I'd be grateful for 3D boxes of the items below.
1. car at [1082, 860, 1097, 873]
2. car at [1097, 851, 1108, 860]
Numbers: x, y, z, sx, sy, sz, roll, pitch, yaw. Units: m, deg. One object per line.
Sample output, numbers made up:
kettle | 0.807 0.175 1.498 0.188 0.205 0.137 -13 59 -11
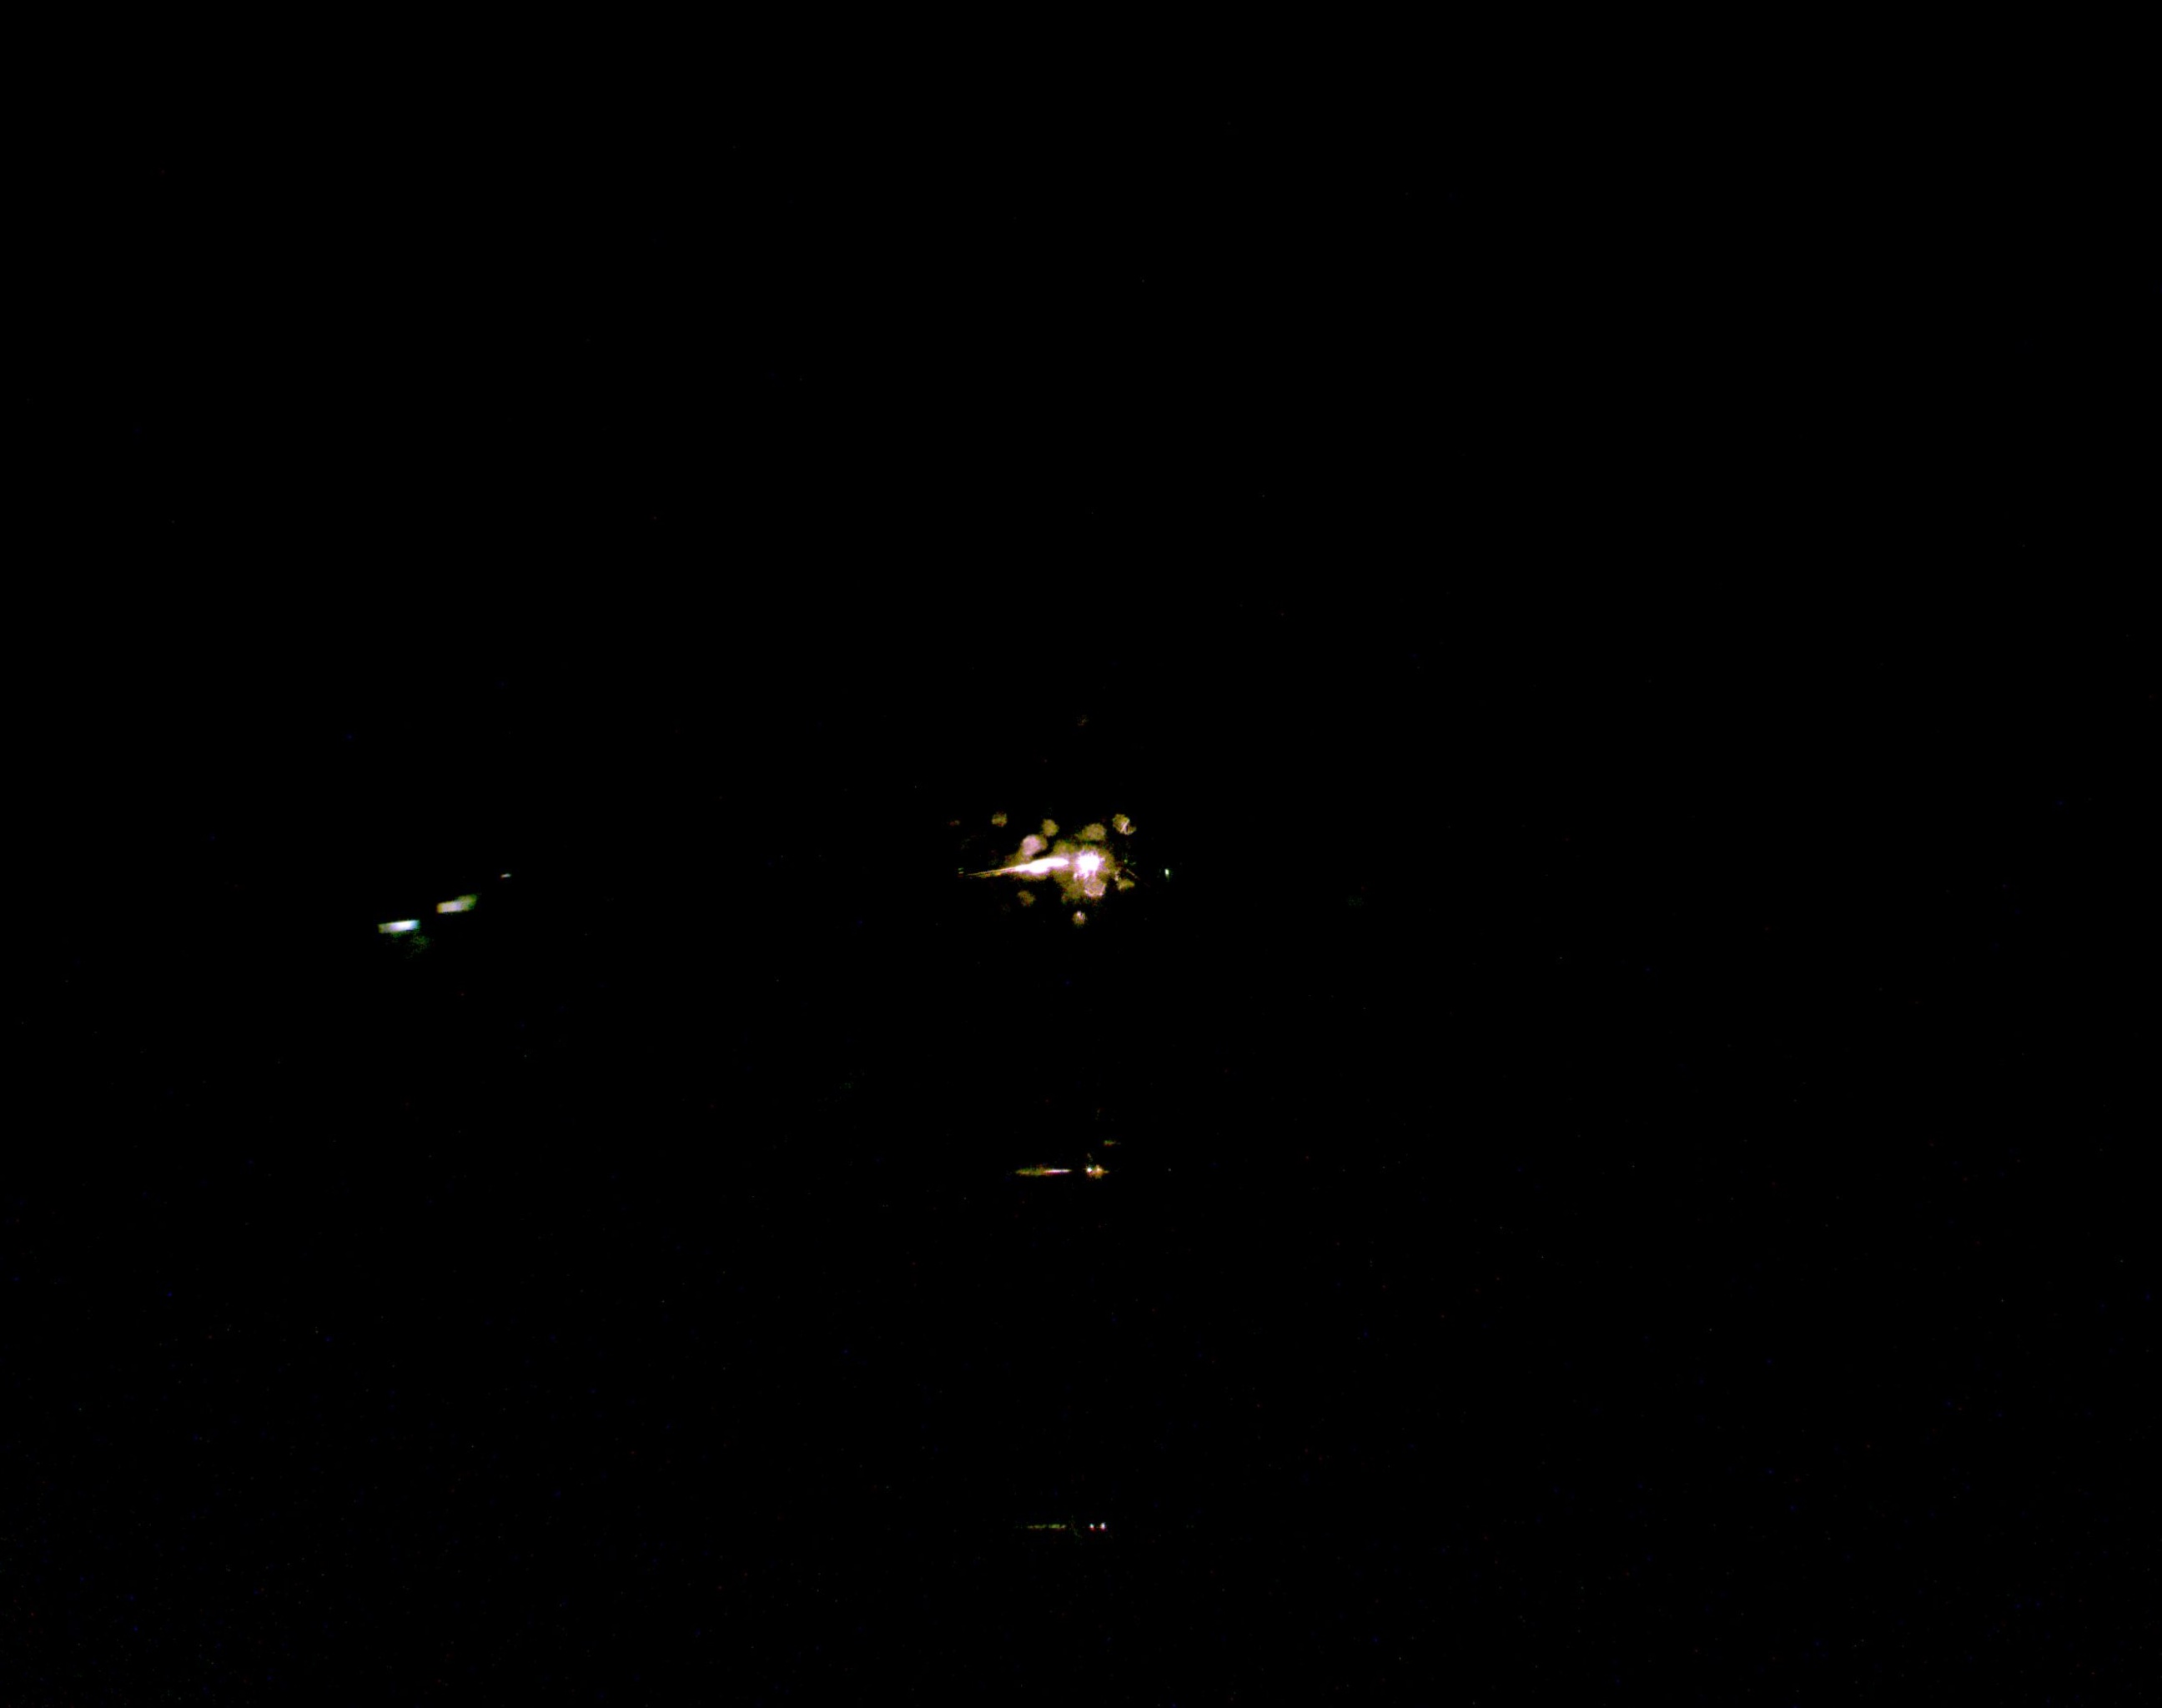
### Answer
car | 1.233 1.771 114.993 1.986 1.825 4.565 0 0 2
car | 4.228 0.267 158.992 1.986 1.666 4.002 -1 0 2
